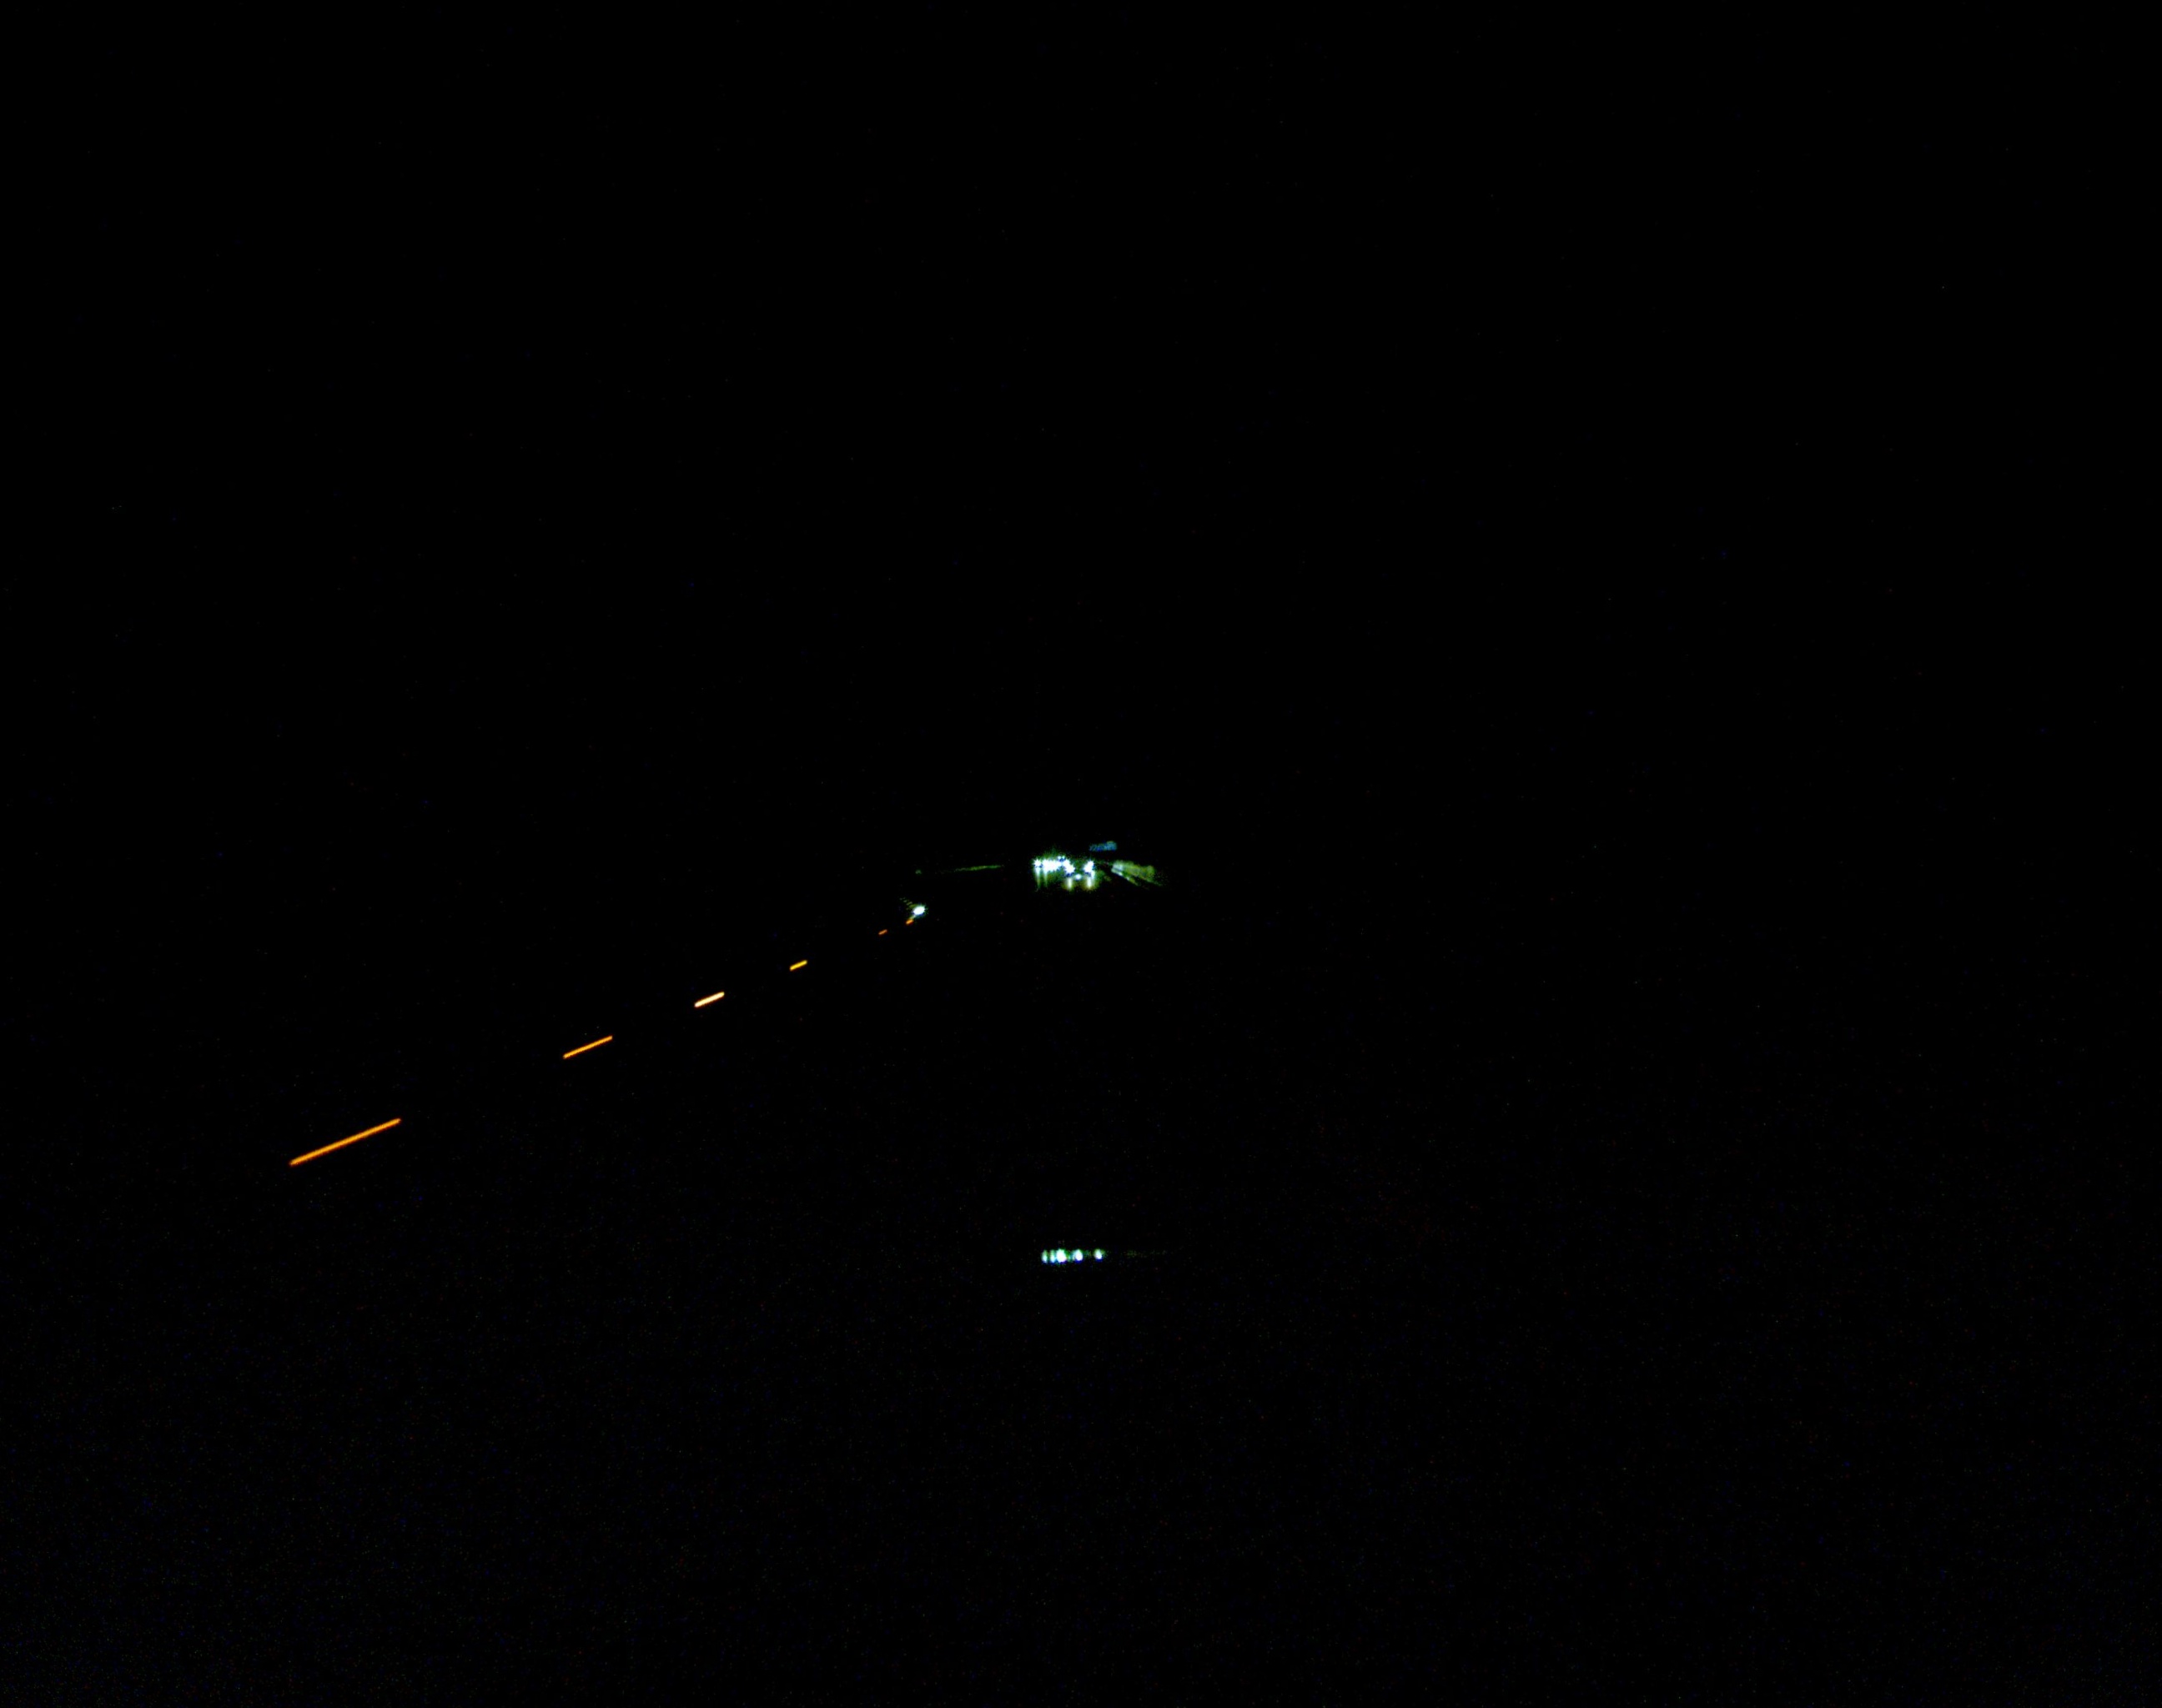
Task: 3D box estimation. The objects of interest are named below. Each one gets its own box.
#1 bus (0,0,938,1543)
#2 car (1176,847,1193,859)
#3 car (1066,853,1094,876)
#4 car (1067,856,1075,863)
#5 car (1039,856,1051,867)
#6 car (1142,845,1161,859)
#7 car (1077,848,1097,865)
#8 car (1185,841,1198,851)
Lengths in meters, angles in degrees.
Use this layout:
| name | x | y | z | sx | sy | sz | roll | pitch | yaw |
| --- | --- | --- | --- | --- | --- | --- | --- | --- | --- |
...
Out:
| name | x | y | z | sx | sy | sz | roll | pitch | yaw |
| --- | --- | --- | --- | --- | --- | --- | --- | --- | --- |
| bus | -3.973 | -0.304 | 5.755 | 2.659 | 3.971 | 14.700 | -3 | 0 | 0 |
| car | 16.765 | -0.189 | 123.368 | 1.998 | 1.626 | 4.749 | -5 | -1 | -1 |
| car | -0.108 | 0.789 | 56.224 | 1.840 | 1.392 | 5.069 | -6 | -1 | -1 |
| car | -2.518 | 1.539 | 200.701 | 1.939 | 1.608 | 4.000 | -6 | -1 | 0 |
| car | -6.475 | 1.435 | 136.801 | 1.999 | 1.707 | 5.168 | -6 | -1 | -1 |
| car | 9.591 | -0.301 | 103.367 | 1.998 | 1.626 | 4.749 | -5 | -1 | -1 |
| car | 0.739 | 0.316 | 84.891 | 2.012 | 1.652 | 4.001 | -6 | -1 | 1 |
| car | 22.458 | -1.635 | 154.420 | 1.999 | 1.914 | 3.999 | -2 | 0 | -1 |
